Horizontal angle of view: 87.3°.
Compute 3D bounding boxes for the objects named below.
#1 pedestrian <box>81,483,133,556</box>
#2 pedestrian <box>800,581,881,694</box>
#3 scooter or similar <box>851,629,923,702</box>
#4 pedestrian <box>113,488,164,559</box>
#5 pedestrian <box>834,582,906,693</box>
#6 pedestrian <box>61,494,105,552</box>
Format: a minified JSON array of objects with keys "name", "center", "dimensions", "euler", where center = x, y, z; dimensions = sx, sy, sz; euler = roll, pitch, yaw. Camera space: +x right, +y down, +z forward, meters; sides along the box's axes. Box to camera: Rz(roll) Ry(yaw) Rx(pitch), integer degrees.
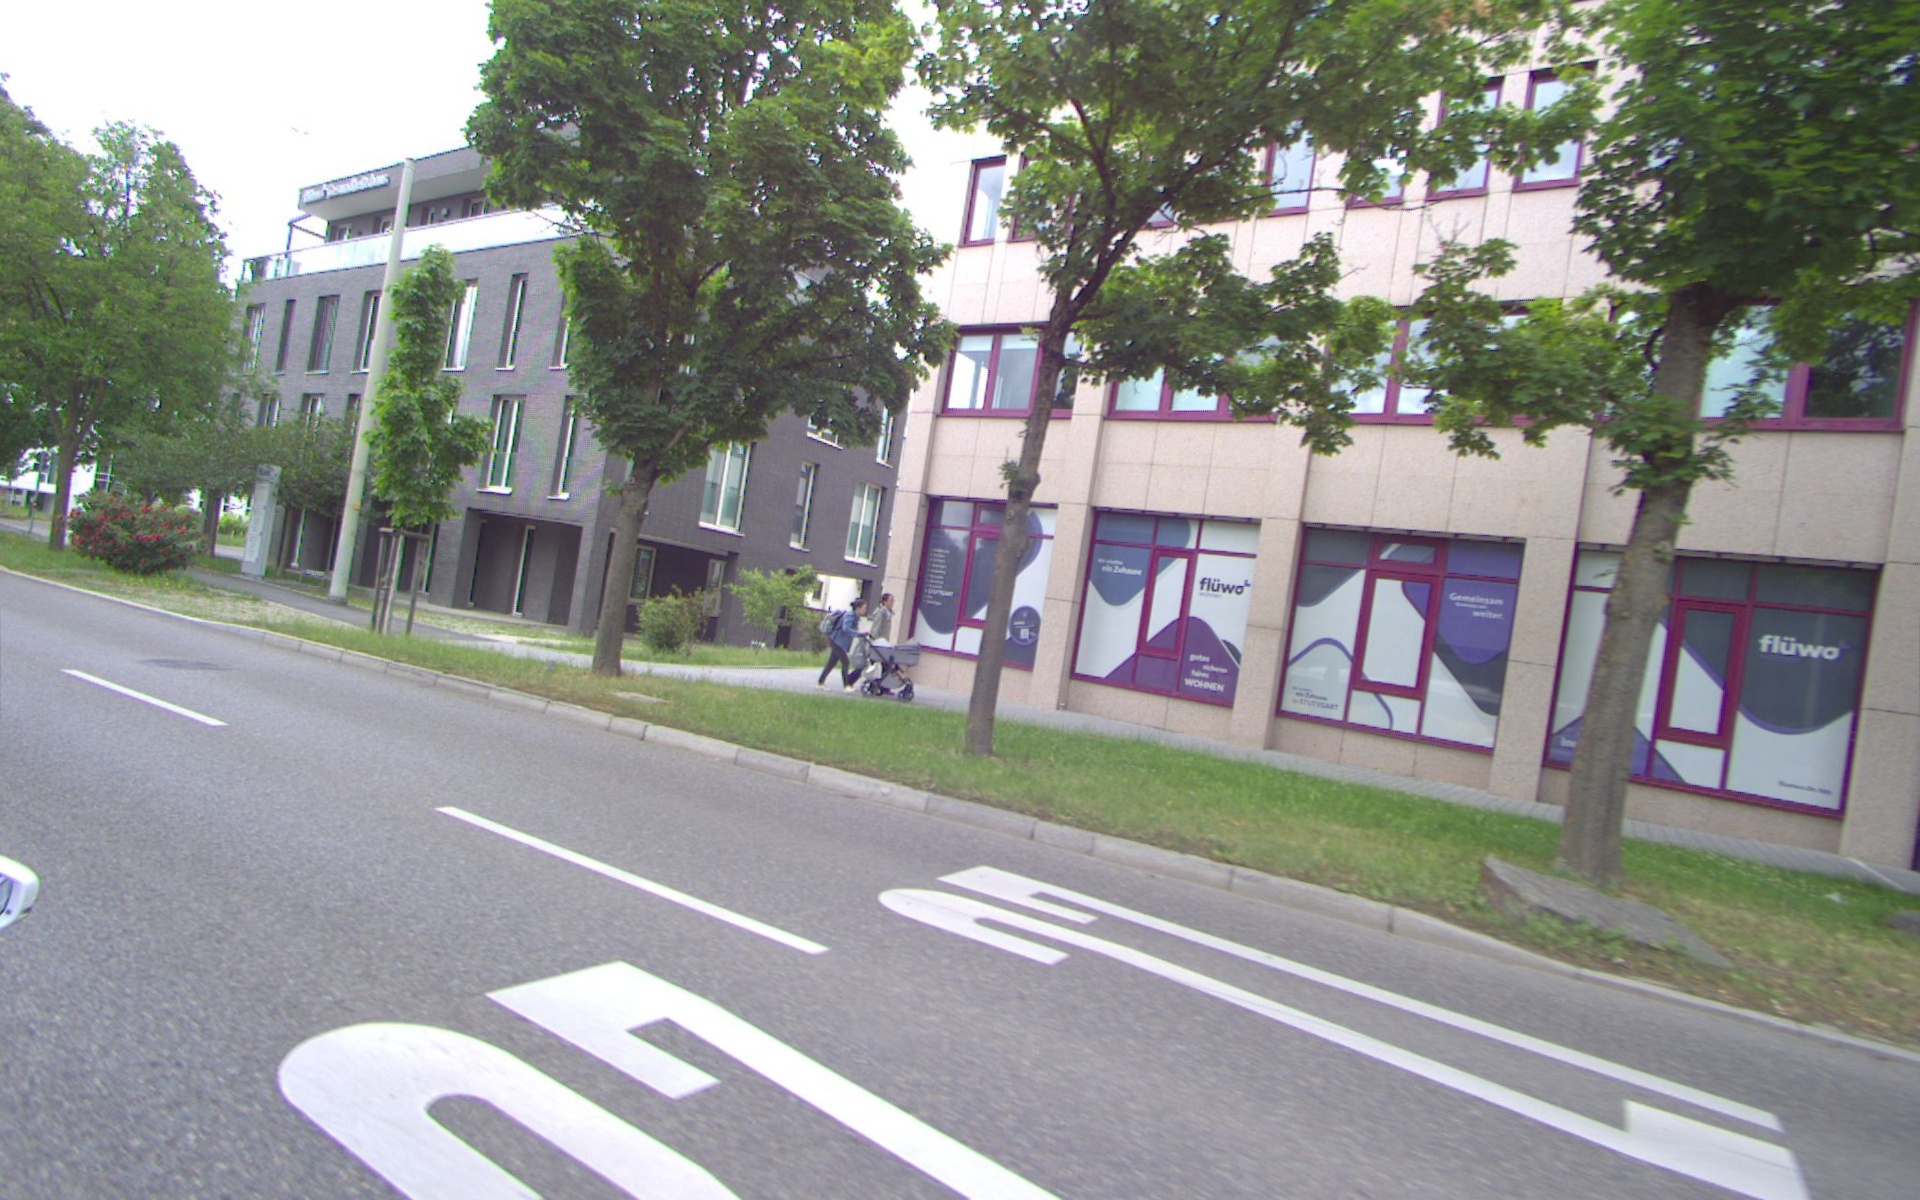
[{"name":"pedestrian","center":[-22.980,-2.169,27.106],"dimensions":[0.937,1.796,0.609],"euler":[10,1,30]},{"name":"pedestrian","center":[-1.904,0.594,16.042],"dimensions":[0.944,1.673,0.556],"euler":[7,1,27]},{"name":"scooter or similar","center":[-1.133,1.015,15.682],"dimensions":[0.832,1.006,0.585],"euler":[7,0,27]},{"name":"pedestrian","center":[-22.645,-2.111,27.718],"dimensions":[0.937,1.796,0.609],"euler":[10,1,30]},{"name":"pedestrian","center":[-1.487,0.626,16.695],"dimensions":[0.816,1.719,0.568],"euler":[7,-1,35]},{"name":"pedestrian","center":[-26.089,-2.289,29.917],"dimensions":[0.578,1.570,0.726],"euler":[7,-1,35]}]
